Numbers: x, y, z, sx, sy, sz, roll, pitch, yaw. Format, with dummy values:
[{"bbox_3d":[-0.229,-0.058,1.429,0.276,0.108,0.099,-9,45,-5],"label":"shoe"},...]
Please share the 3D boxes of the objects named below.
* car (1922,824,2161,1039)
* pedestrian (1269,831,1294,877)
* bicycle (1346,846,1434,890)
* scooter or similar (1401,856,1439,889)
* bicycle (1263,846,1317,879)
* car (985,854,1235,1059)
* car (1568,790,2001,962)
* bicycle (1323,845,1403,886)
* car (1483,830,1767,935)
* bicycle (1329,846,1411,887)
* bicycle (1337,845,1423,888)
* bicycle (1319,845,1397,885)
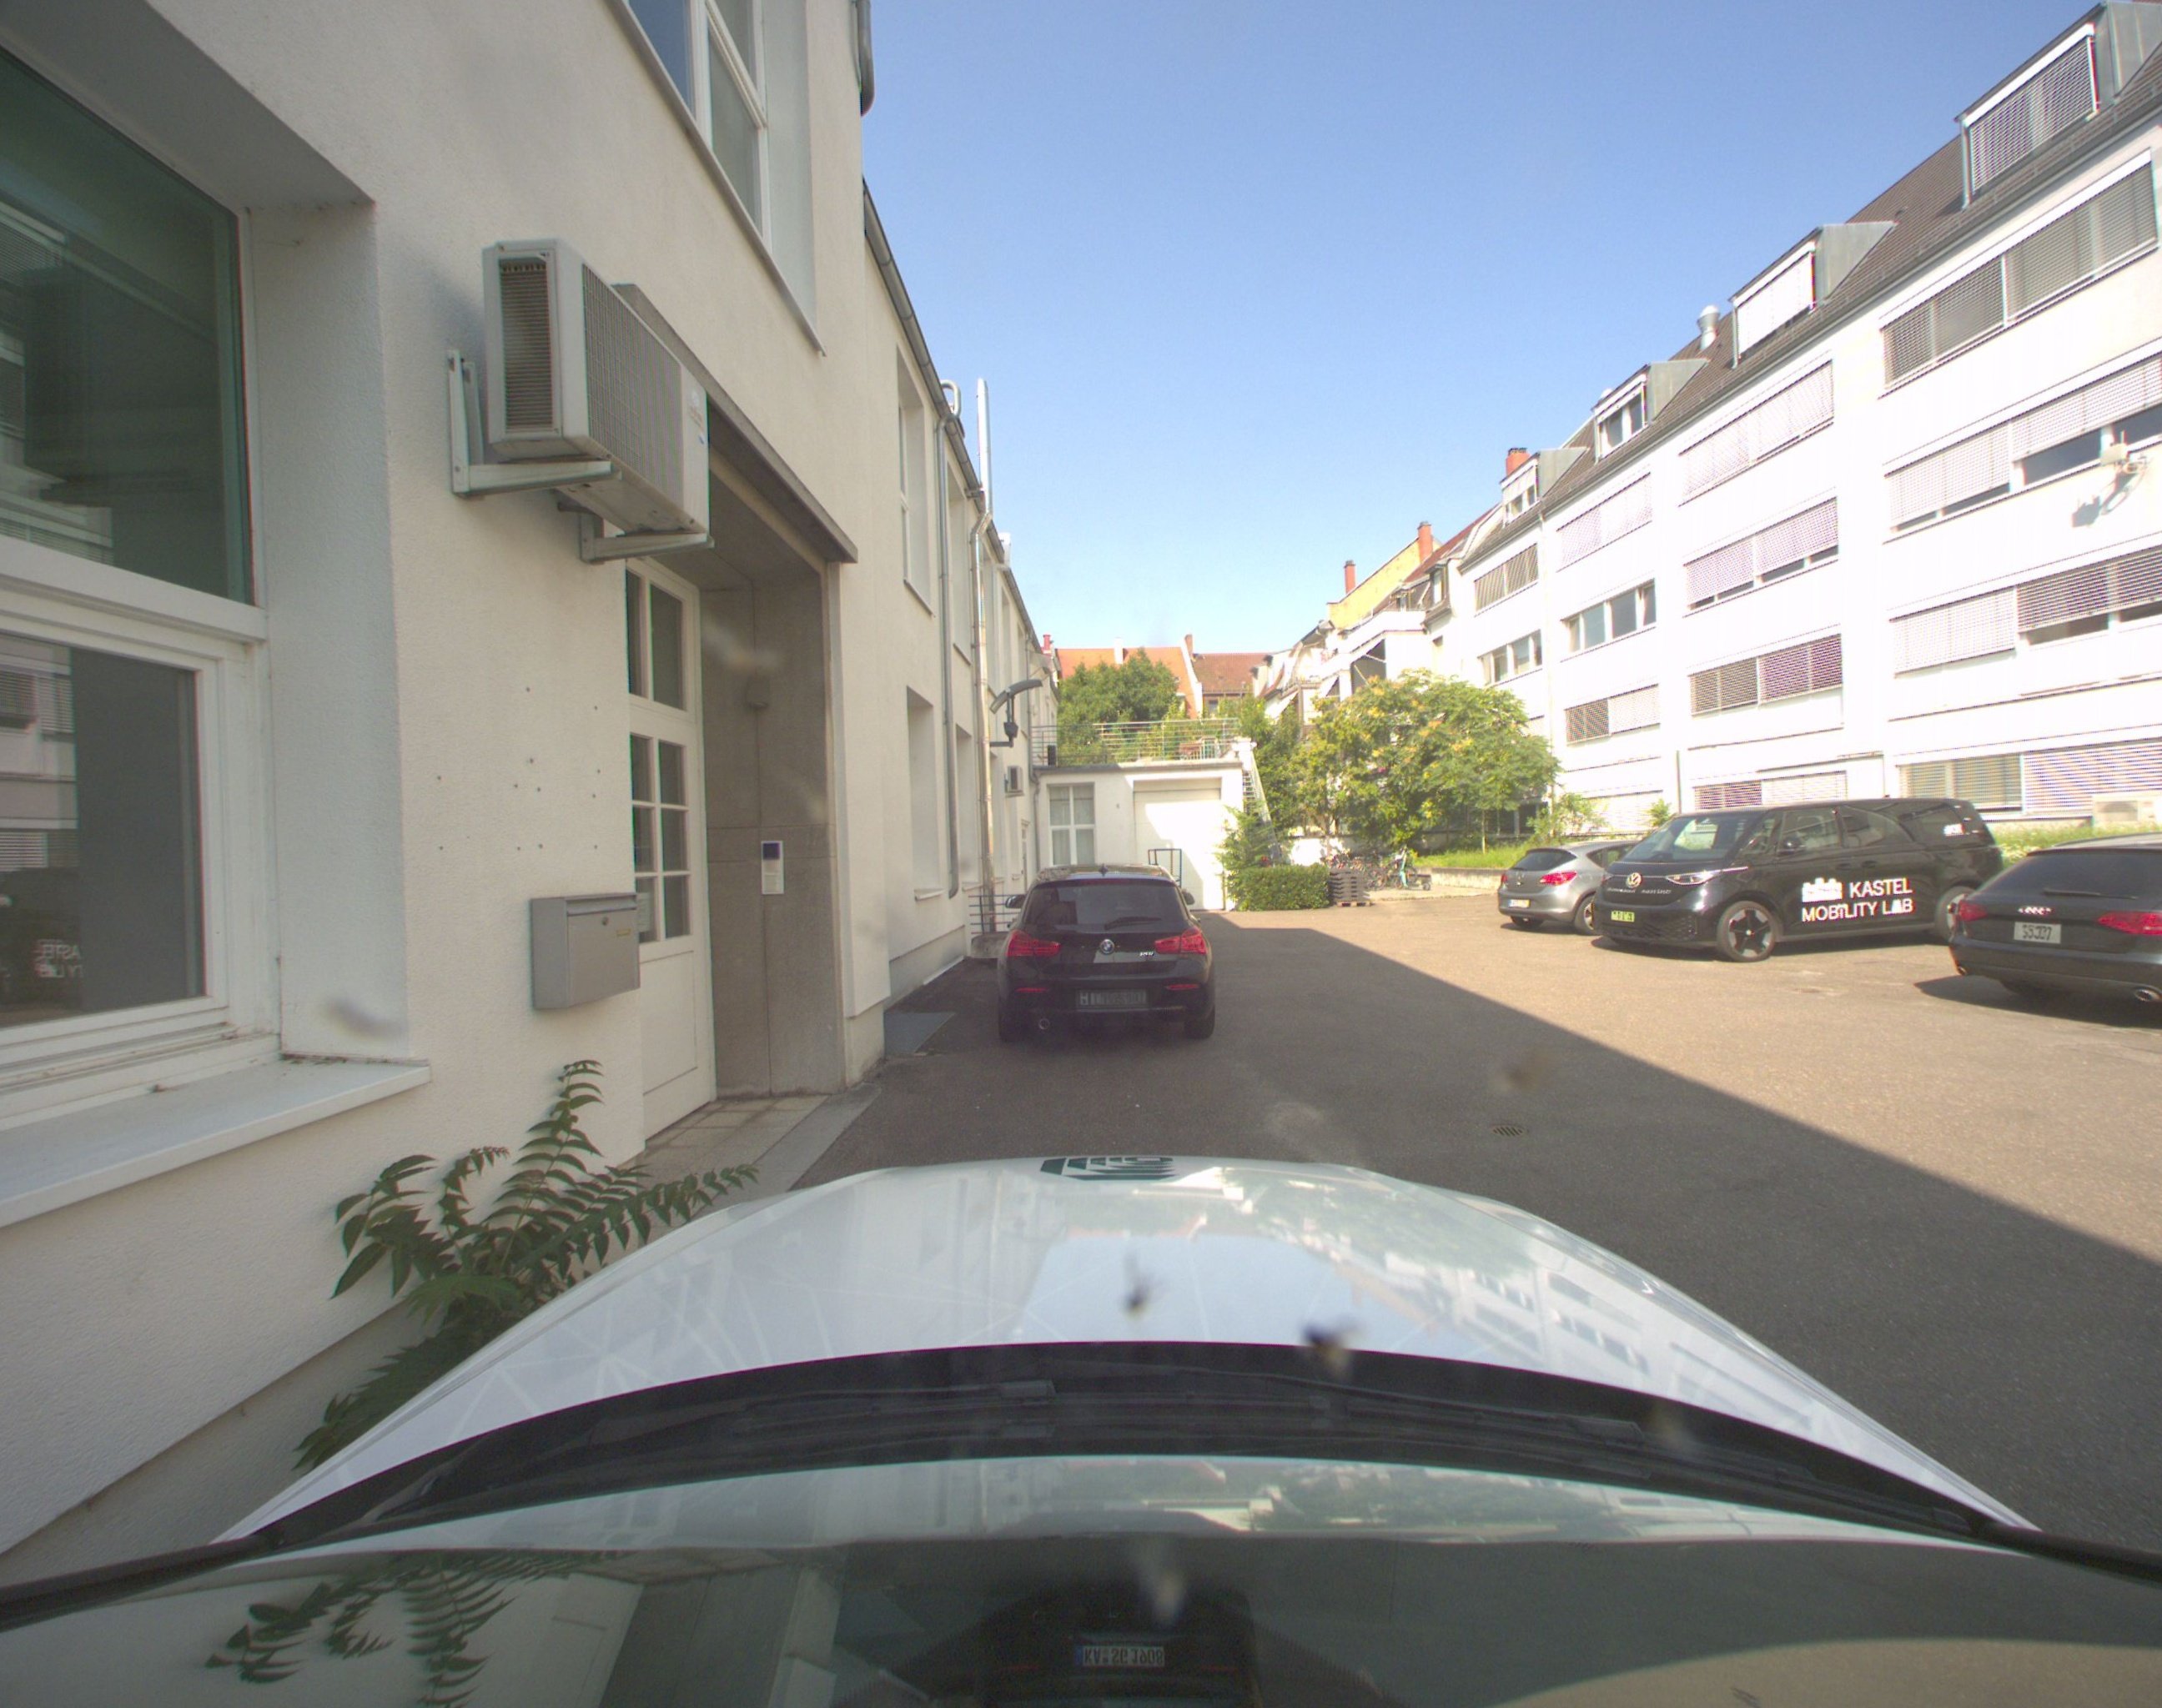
[{"bbox_3d":[9.548,0.458,6.344,4.218,1.437,1.691,-3,0,0],"label":"car"},{"bbox_3d":[7.892,0.000,32.111,0.610,1.771,0.857,-1,0,-13],"label":"pedestrian"},{"bbox_3d":[9.204,0.417,24.302,2.401,1.246,0.527,-1,0,2],"label":"bicycle"},{"bbox_3d":[9.908,0.530,23.828,0.362,0.924,0.988,-1,0,-35],"label":"scooter or similar"},{"bbox_3d":[8.178,0.319,31.846,1.988,1.143,0.488,-3,1,-12],"label":"bicycle"},{"bbox_3d":[0.215,0.746,8.009,1.787,1.428,4.136,-1,0,0],"label":"car"},{"bbox_3d":[9.103,0.226,10.737,4.331,1.859,1.910,-3,0,-8],"label":"car"},{"bbox_3d":[9.153,0.372,26.465,2.401,1.246,0.527,-1,0,2],"label":"bicycle"},{"bbox_3d":[9.041,0.424,13.644,3.898,1.466,1.657,-3,0,-11],"label":"car"},{"bbox_3d":[9.141,0.389,25.799,2.401,1.246,0.527,-1,0,2],"label":"bicycle"},{"bbox_3d":[9.181,0.379,25.031,2.401,1.246,0.527,-1,0,2],"label":"bicycle"},{"bbox_3d":[9.215,0.370,27.126,2.401,1.246,0.527,-1,0,2],"label":"bicycle"}]
